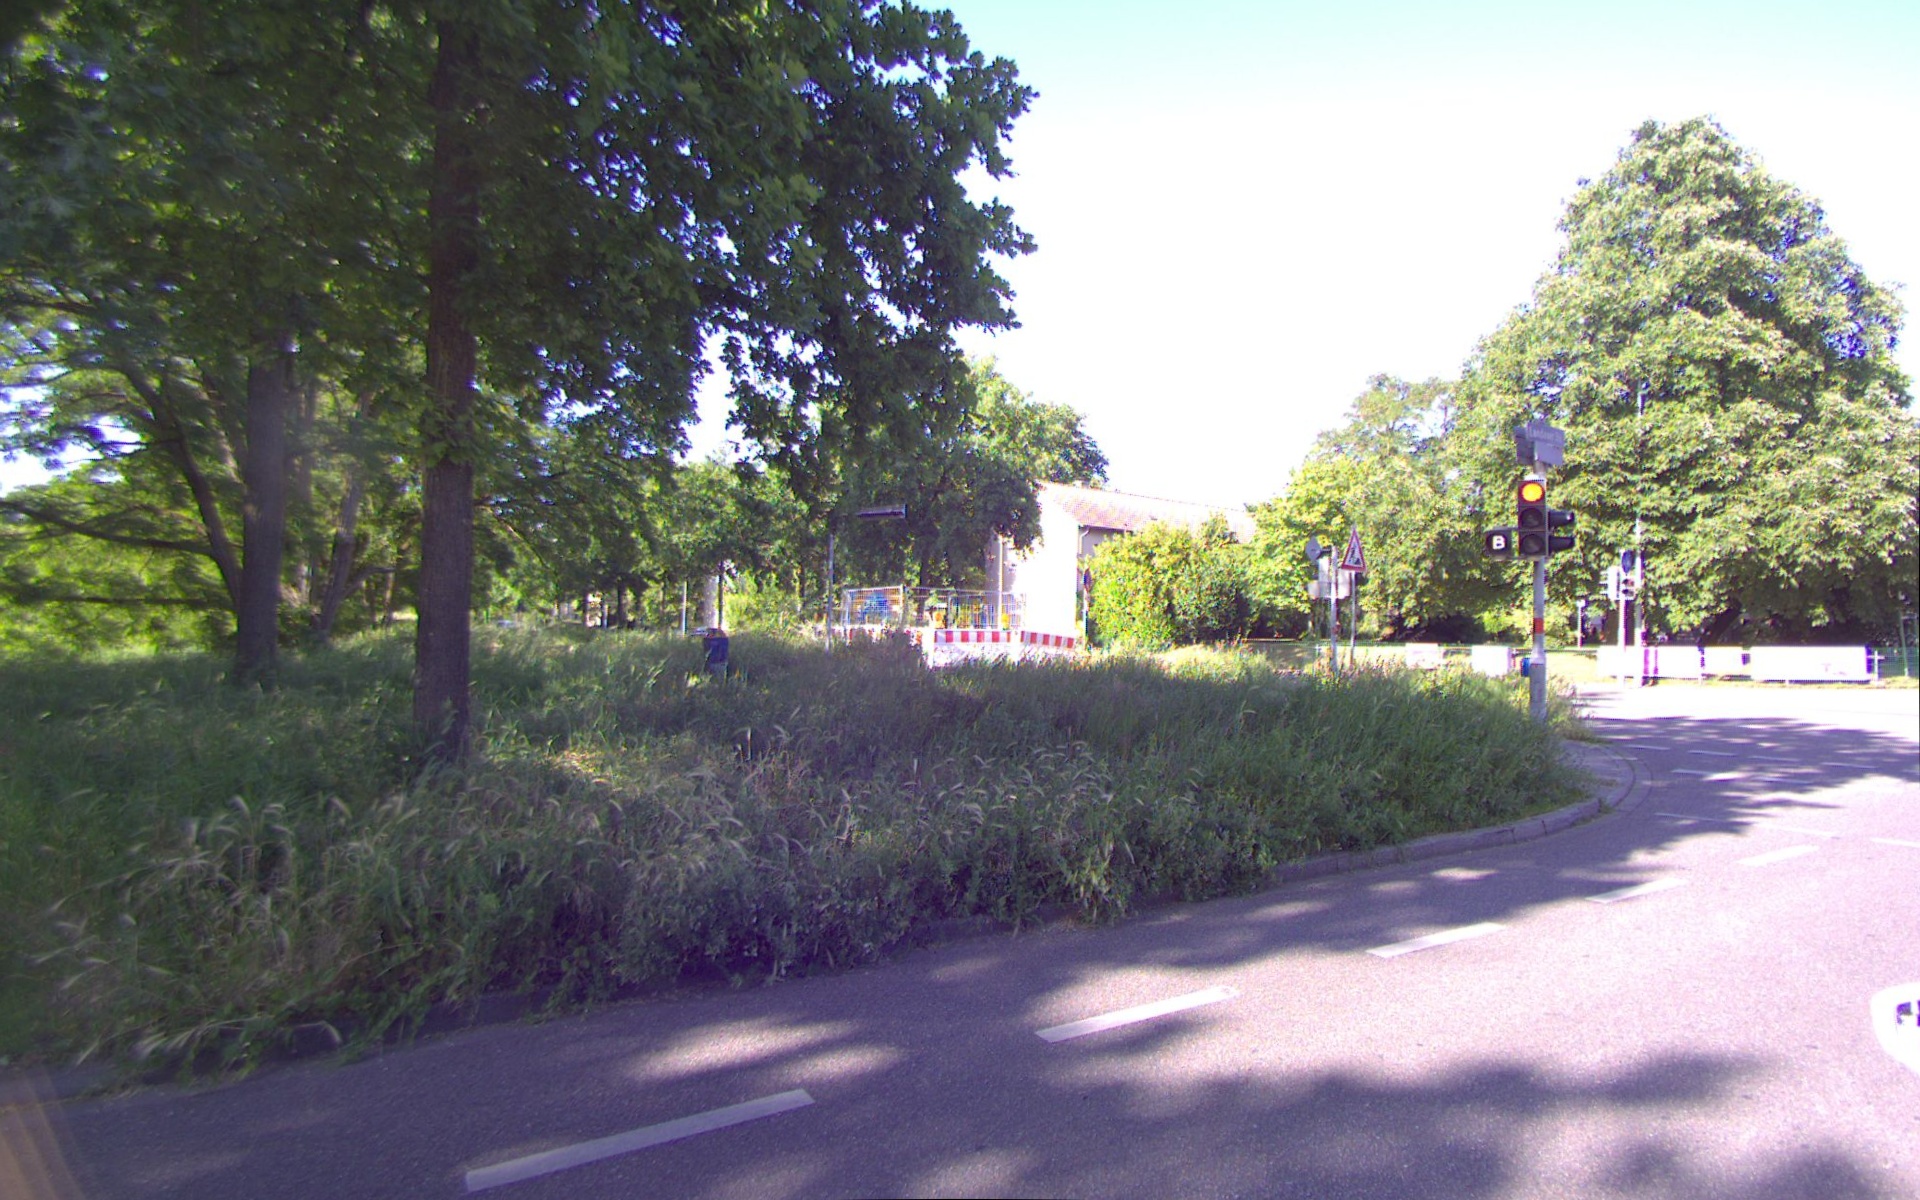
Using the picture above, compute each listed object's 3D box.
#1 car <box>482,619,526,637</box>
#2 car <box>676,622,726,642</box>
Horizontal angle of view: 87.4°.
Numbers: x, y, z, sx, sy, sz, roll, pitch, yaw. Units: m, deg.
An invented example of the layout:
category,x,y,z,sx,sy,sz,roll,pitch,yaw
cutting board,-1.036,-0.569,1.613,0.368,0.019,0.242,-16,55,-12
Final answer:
category,x,y,z,sx,sy,sz,roll,pitch,yaw
car,-47.374,2.874,104.492,3.939,1.673,1.991,2,0,-20
car,-20.026,2.485,77.460,1.983,1.449,4.690,2,-3,-39
